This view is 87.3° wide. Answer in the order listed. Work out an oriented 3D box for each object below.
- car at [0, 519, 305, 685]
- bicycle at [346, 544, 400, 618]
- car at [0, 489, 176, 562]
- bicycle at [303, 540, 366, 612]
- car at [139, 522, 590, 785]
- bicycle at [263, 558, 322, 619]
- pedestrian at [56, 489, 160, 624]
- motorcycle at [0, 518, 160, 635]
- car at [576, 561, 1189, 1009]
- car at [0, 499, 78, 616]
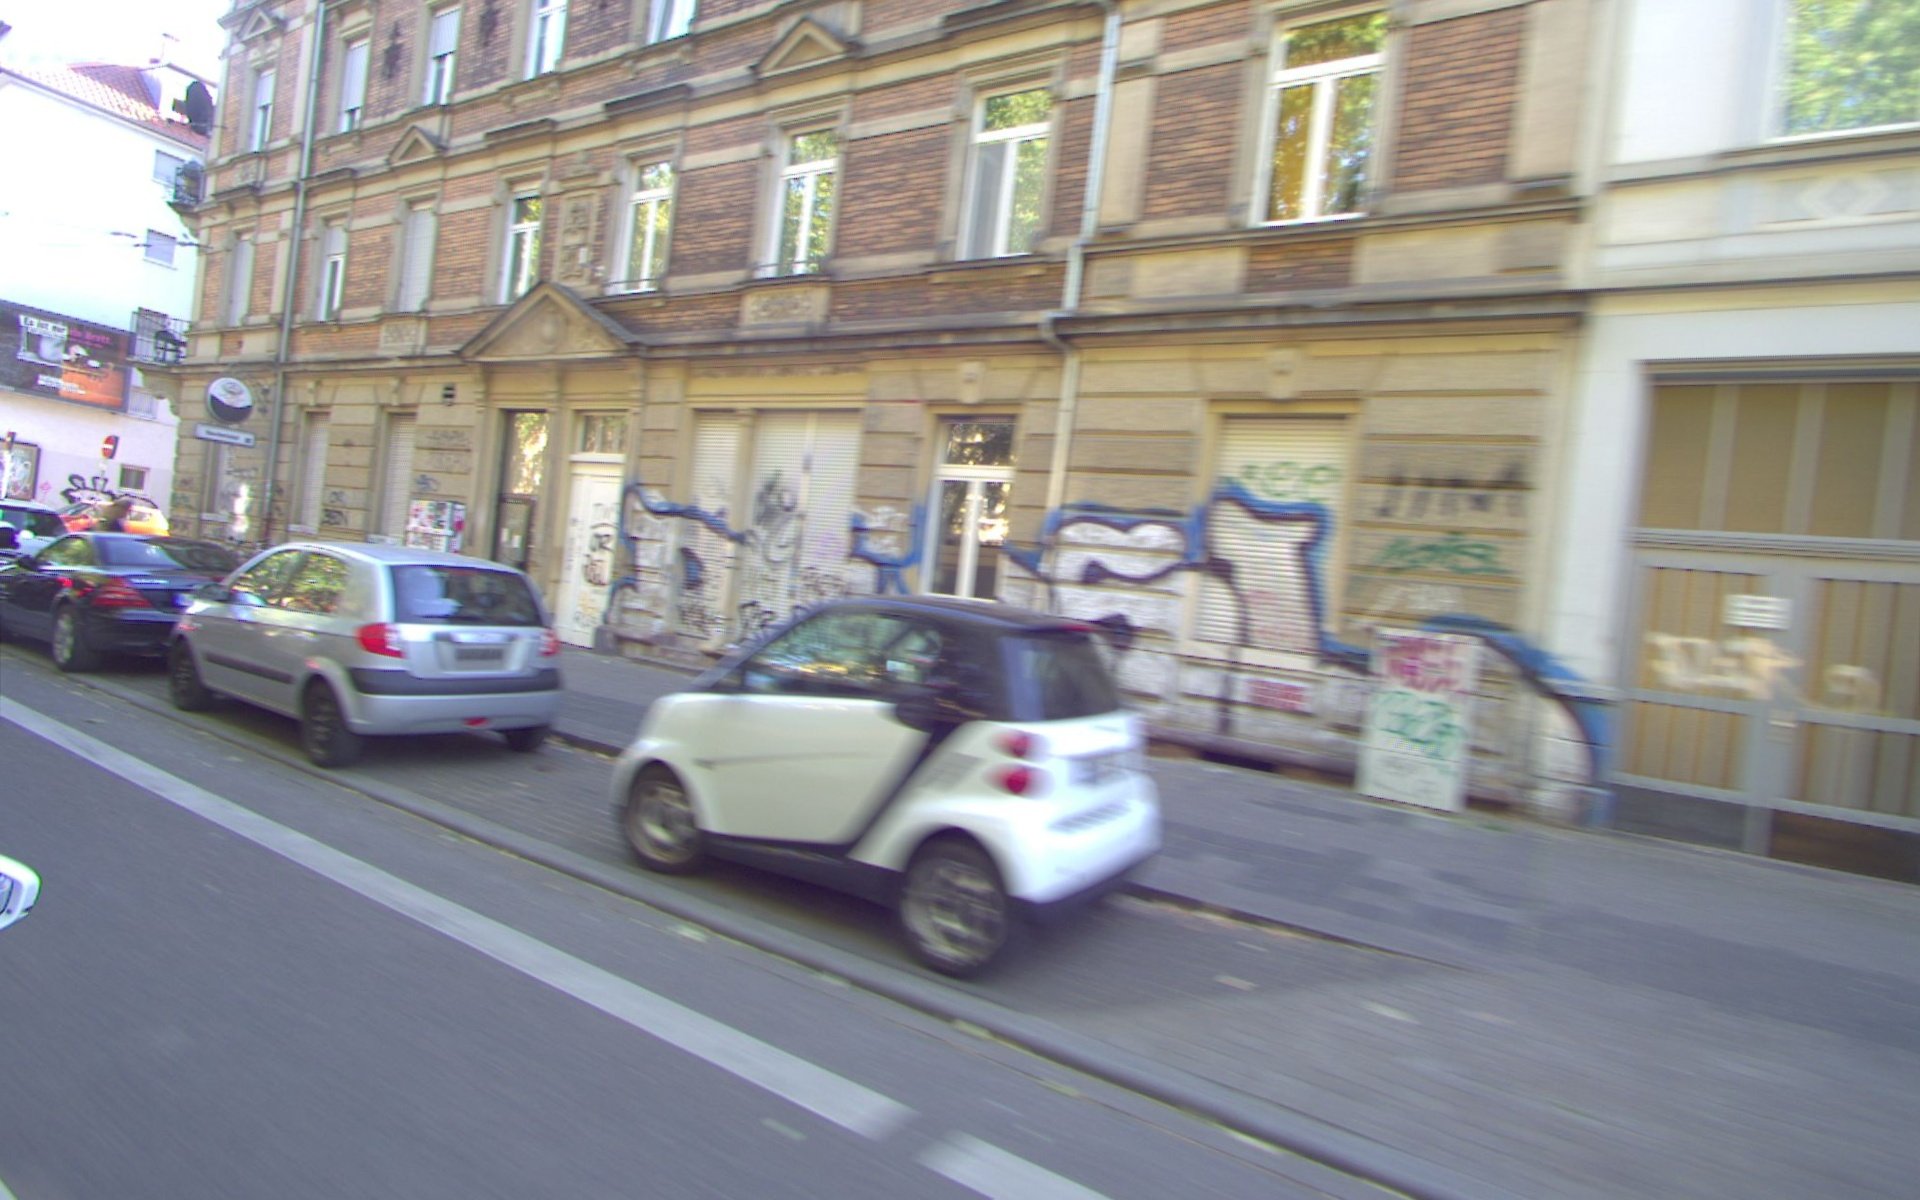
[{"bbox_3d":[-8.593,-0.041,10.390,3.663,1.289,1.649,6,2,32],"label":"car"},{"bbox_3d":[-10.266,-0.337,17.591,1.121,1.168,0.273,7,1,34],"label":"bicycle"},{"bbox_3d":[-26.012,-2.182,30.072,1.763,1.593,3.649,7,-1,38],"label":"car"},{"bbox_3d":[-11.355,-0.449,18.246,1.350,1.168,0.378,7,1,34],"label":"bicycle"},{"bbox_3d":[-4.818,0.294,7.992,3.681,1.471,1.606,7,2,34],"label":"car"},{"bbox_3d":[-12.727,-0.219,19.171,1.350,1.013,0.378,7,1,34],"label":"bicycle"},{"bbox_3d":[-11.379,-0.577,13.442,0.705,1.677,0.764,7,0,33],"label":"pedestrian"},{"bbox_3d":[-11.063,-0.273,12.201,0.631,1.305,2.142,7,-1,11],"label":"motorcycle"},{"bbox_3d":[-0.452,0.713,5.301,2.774,1.564,1.510,7,3,32],"label":"car"},{"bbox_3d":[-13.938,-0.716,13.884,3.947,1.439,1.602,7,2,33],"label":"car"}]
